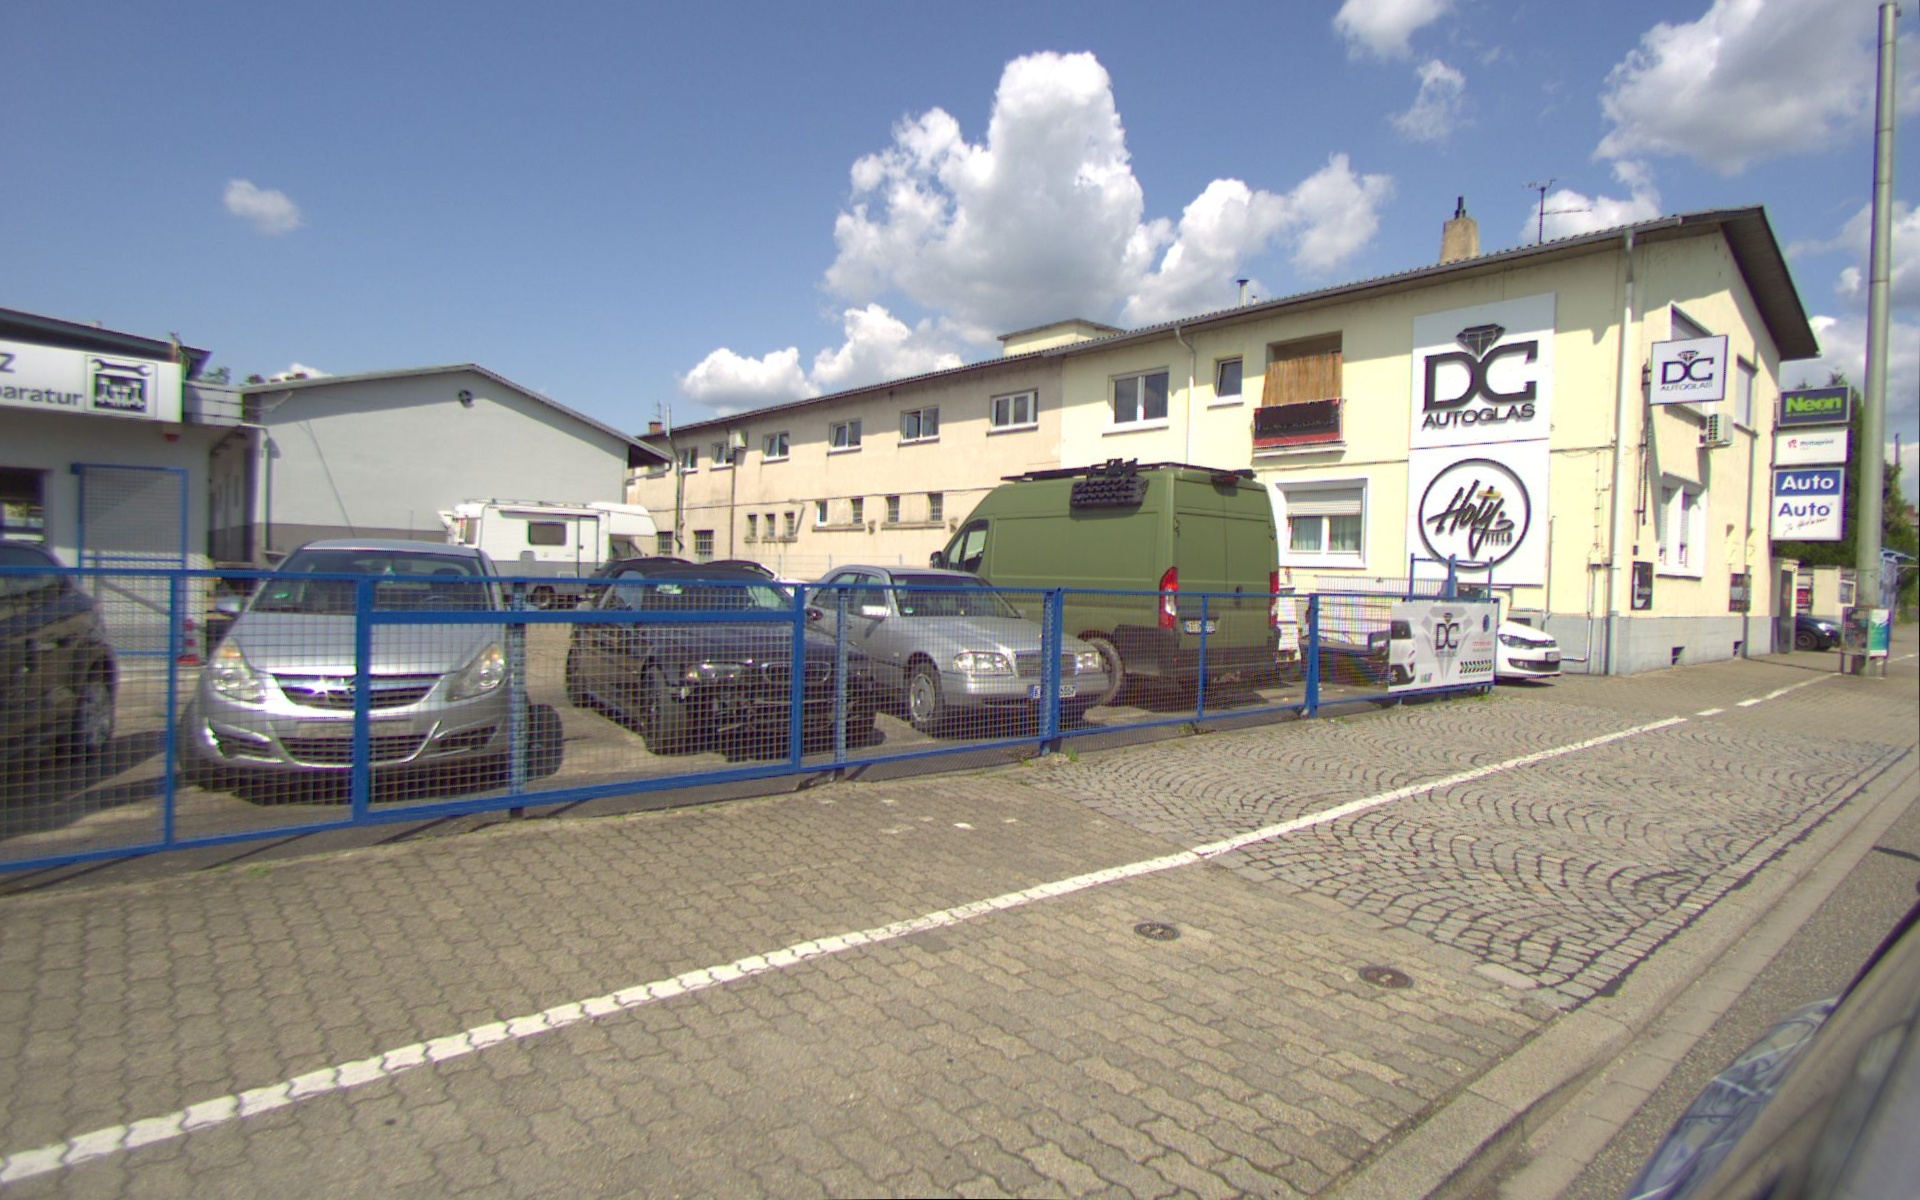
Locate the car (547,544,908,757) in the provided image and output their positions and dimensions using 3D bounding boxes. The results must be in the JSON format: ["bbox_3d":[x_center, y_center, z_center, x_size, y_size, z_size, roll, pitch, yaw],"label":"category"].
[{"bbox_3d":[-2.274,0.285,8.882,1.707,1.391,4.265,0,1,-34],"label":"car"}]

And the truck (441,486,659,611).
[{"bbox_3d":[-10.967,-1.340,27.296,5.000,3.046,2.157,0,3,-42],"label":"truck"}]

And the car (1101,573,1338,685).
[{"bbox_3d":[3.564,0.325,14.260,1.309,1.290,3.034,0,3,-39],"label":"car"}]

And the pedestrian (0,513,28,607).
[{"bbox_3d":[-13.783,-0.565,14.436,0.688,1.318,0.634,0,0,-40],"label":"pedestrian"}]

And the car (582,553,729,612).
[{"bbox_3d":[-7.640,-0.428,25.540,3.268,1.396,1.425,-1,0,-40],"label":"car"}]

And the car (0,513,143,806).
[{"bbox_3d":[-5.671,0.298,4.980,1.592,1.480,3.919,0,3,-24],"label":"car"}]

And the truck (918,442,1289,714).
[{"bbox_3d":[1.567,-0.235,12.295,2.071,2.694,4.180,0,0,-39],"label":"truck"}]

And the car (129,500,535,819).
[{"bbox_3d":[-4.029,0.264,7.159,1.789,1.524,4.271,0,0,-24],"label":"car"}]

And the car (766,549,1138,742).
[{"bbox_3d":[-0.321,0.340,10.263,1.792,1.527,4.265,0,0,-33],"label":"car"}]

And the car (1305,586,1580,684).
[{"bbox_3d":[7.576,0.479,16.188,1.490,1.375,3.727,0,0,-37],"label":"car"}]

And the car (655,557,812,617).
[{"bbox_3d":[-5.146,-0.299,23.143,3.219,1.278,1.452,-1,0,-40],"label":"car"}]
